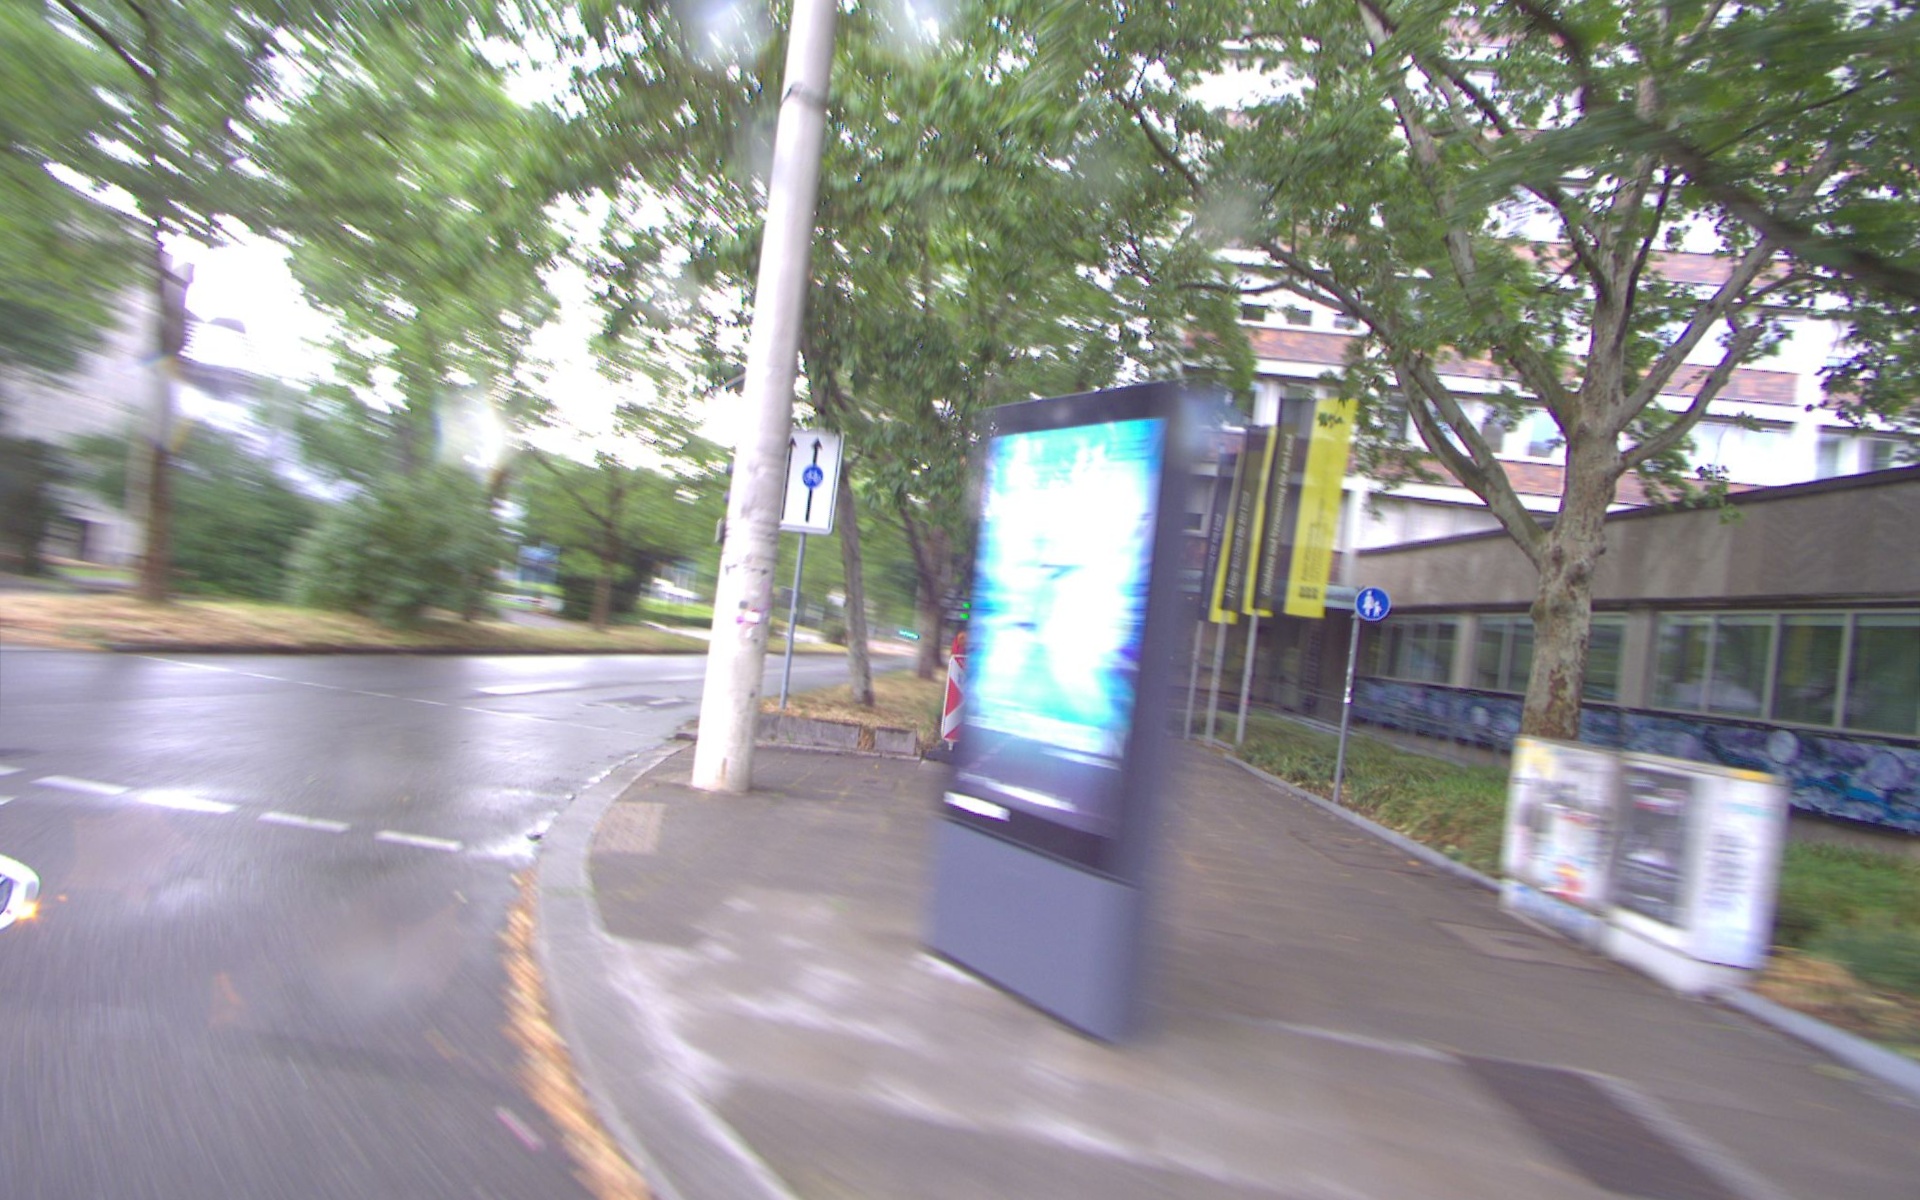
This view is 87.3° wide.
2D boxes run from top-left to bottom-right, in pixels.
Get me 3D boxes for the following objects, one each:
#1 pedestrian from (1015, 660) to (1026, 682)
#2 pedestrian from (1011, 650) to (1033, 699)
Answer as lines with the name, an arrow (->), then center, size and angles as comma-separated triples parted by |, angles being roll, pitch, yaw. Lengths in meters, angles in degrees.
pedestrian -> 4.977, 5.834, 82.809 | 0.692, 1.657, 0.935 | 8, -2, 1
pedestrian -> 2.182, 2.593, 35.237 | 0.512, 1.657, 0.935 | 8, -2, 1
